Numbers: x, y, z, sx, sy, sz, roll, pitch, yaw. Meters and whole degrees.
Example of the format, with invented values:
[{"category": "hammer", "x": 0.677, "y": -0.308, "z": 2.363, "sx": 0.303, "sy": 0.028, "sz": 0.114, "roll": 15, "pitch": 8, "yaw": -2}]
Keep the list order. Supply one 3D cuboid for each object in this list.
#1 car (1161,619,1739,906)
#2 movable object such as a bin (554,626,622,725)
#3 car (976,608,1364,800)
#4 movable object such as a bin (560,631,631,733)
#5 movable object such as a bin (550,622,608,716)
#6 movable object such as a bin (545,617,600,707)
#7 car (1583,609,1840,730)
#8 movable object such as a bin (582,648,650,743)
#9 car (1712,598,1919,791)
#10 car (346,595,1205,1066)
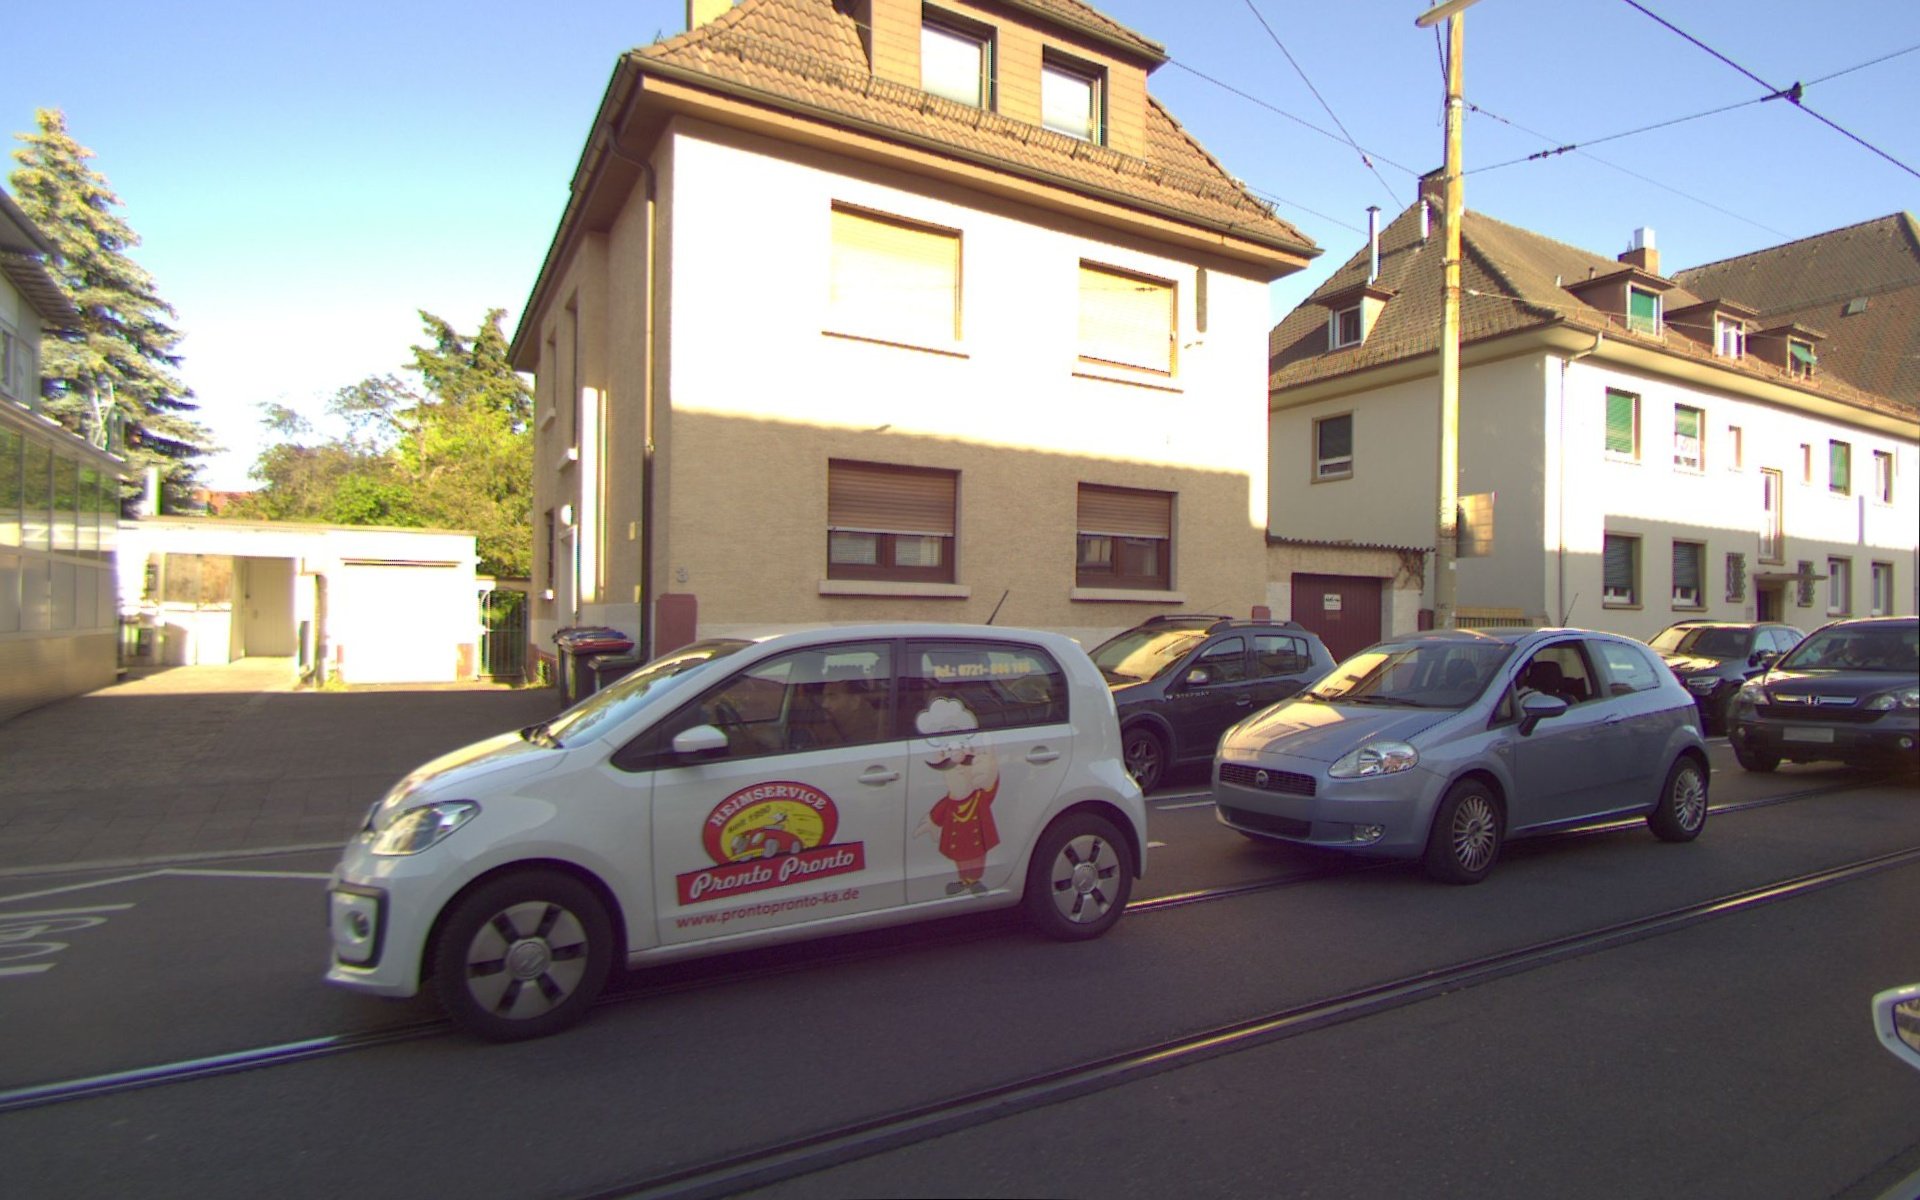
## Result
[{"category": "car", "x": 3.457, "y": 0.913, "z": 6.920, "sx": 4.027, "sy": 1.480, "sz": 1.610, "roll": 1, "pitch": -3, "yaw": -30}, {"category": "movable object such as a bin", "x": -4.531, "y": 0.899, "z": 12.227, "sx": 0.664, "sy": 1.126, "sz": 0.639, "roll": 1, "pitch": 2, "yaw": -30}, {"category": "car", "x": 2.220, "y": 0.970, "z": 10.346, "sx": 3.876, "sy": 1.649, "sz": 1.608, "roll": 2, "pitch": -3, "yaw": -31}, {"category": "movable object such as a bin", "x": -4.222, "y": 0.929, "z": 11.631, "sx": 0.664, "sy": 1.094, "sz": 0.612, "roll": 1, "pitch": 2, "yaw": -30}, {"category": "movable object such as a bin", "x": -4.852, "y": 0.864, "z": 12.789, "sx": 0.583, "sy": 1.126, "sz": 0.566, "roll": 1, "pitch": 2, "yaw": -30}, {"category": "movable object such as a bin", "x": -5.153, "y": 0.810, "z": 13.341, "sx": 0.583, "sy": 1.126, "sz": 0.612, "roll": 1, "pitch": 2, "yaw": -30}, {"category": "car", "x": 12.226, "y": 1.077, "z": 16.277, "sx": 4.503, "sy": 1.727, "sz": 1.753, "roll": 2, "pitch": -3, "yaw": -31}, {"category": "movable object such as a bin", "x": -3.792, "y": 1.036, "z": 11.065, "sx": 0.575, "sy": 0.957, "sz": 0.654, "roll": 1, "pitch": 2, "yaw": -30}, {"category": "car", "x": 10.105, "y": 0.923, "z": 10.775, "sx": 4.312, "sy": 1.727, "sz": 1.696, "roll": 1, "pitch": -2, "yaw": -30}, {"category": "car", "x": -0.734, "y": 0.789, "z": 4.738, "sx": 3.569, "sy": 1.480, "sz": 1.576, "roll": 1, "pitch": -2, "yaw": -29}]
